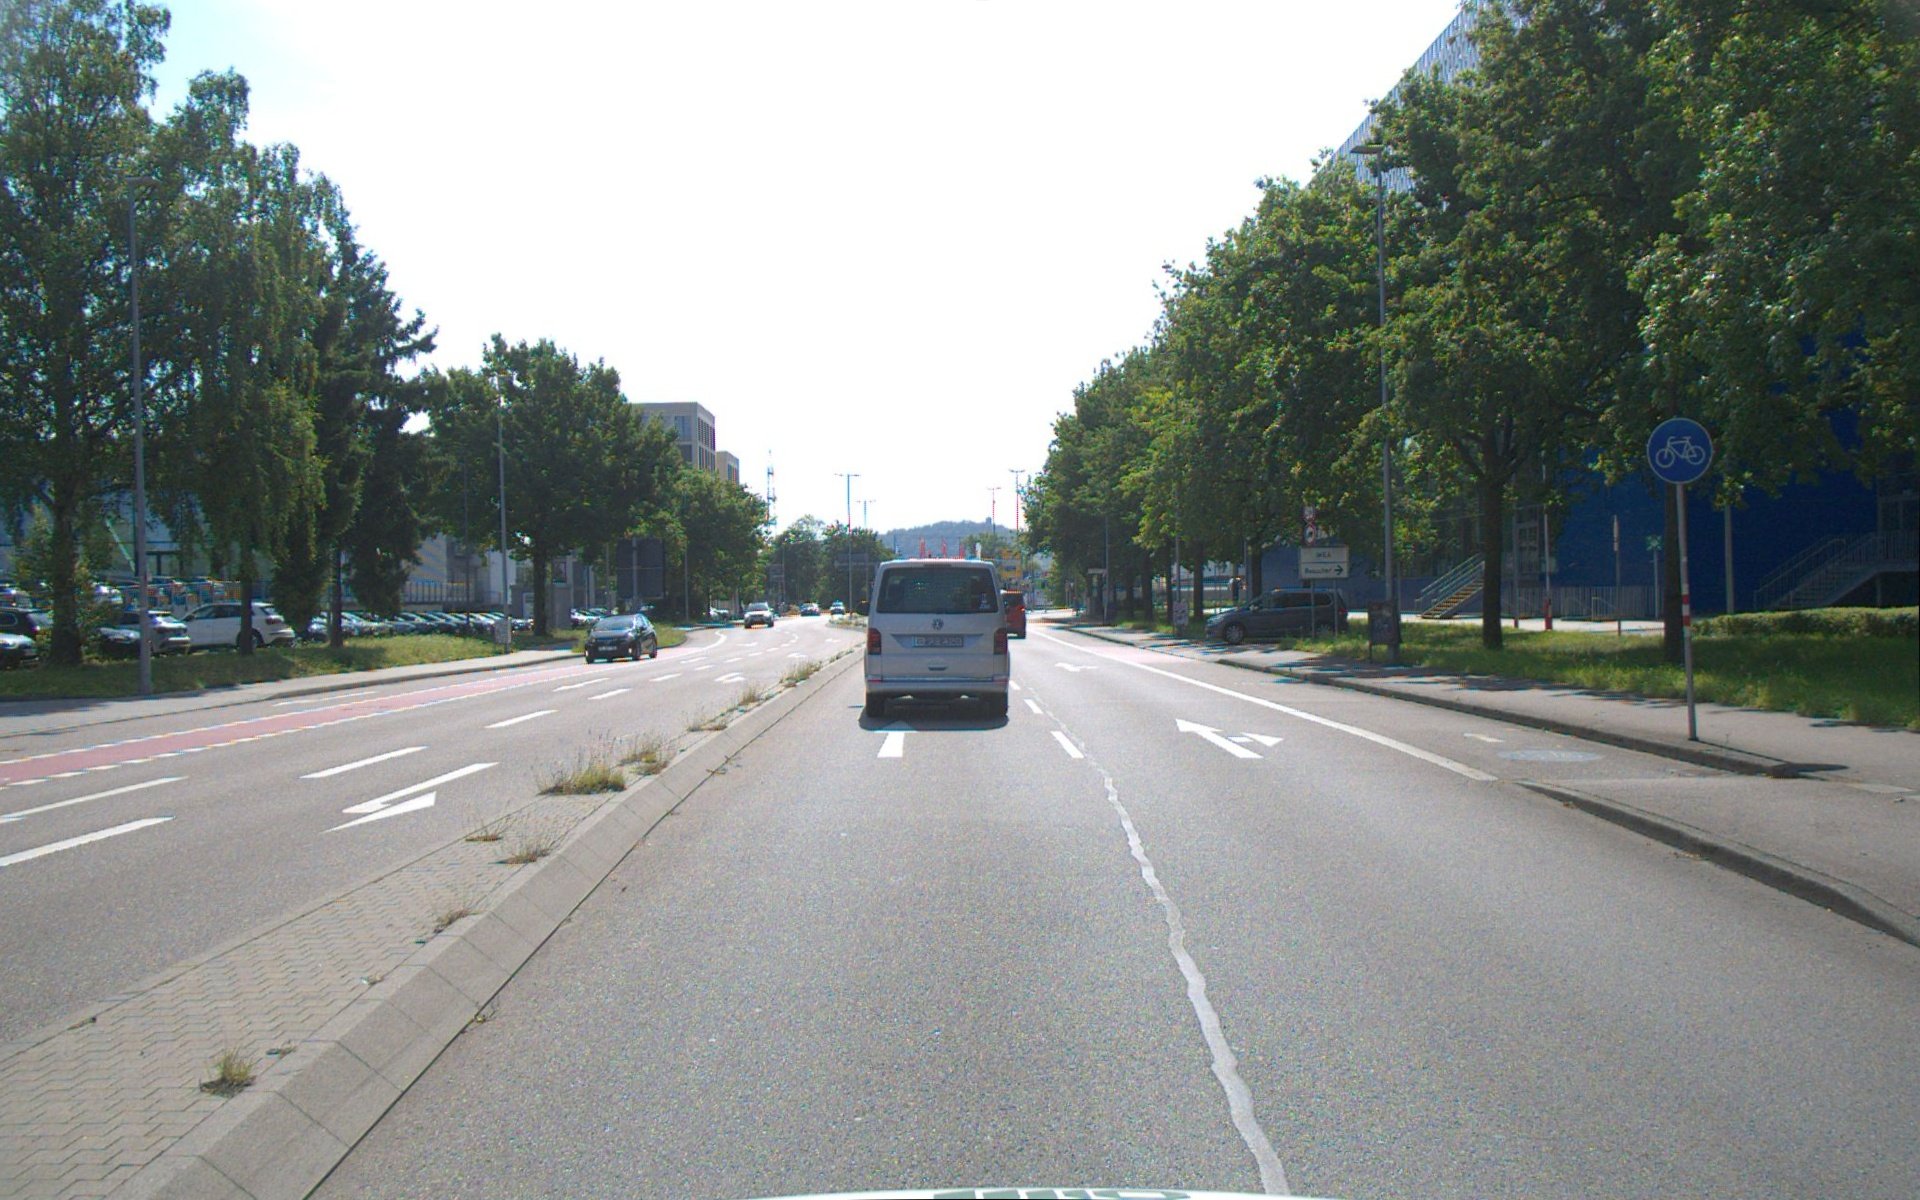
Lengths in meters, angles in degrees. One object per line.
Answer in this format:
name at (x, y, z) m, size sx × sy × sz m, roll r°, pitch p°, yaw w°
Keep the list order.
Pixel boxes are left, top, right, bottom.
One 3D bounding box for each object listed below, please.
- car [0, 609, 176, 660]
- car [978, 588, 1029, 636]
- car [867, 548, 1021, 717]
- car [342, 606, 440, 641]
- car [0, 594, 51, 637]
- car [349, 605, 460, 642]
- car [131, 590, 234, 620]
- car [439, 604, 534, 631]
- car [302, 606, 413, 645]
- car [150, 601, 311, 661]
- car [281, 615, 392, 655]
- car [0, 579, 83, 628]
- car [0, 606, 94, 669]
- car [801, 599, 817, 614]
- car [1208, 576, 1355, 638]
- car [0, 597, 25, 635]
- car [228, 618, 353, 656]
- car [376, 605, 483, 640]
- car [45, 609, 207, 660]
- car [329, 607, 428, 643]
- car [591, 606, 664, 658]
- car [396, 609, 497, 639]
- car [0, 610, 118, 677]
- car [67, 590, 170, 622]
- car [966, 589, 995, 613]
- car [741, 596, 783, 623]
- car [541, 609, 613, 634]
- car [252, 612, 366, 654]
car at (-23.433, 0.889, 43.395) m, size 4.753 × 1.290 × 1.999 m, roll 0°, pitch 0°, yaw -2°
car at (1.853, 0.511, 71.806) m, size 1.928 × 2.002 × 5.123 m, roll 0°, pitch 0°, yaw -2°
car at (-0.234, 0.381, 21.844) m, size 1.846 × 2.025 × 3.999 m, roll 0°, pitch 0°, yaw -1°
car at (-24.941, 1.032, 72.577) m, size 3.607 × 1.307 × 1.984 m, roll -3°, pitch 0°, yaw -3°
car at (-40.129, 0.676, 68.285) m, size 4.183 × 1.735 × 1.664 m, roll -2°, pitch 0°, yaw -3°
car at (-25.229, 1.051, 75.228) m, size 4.410 × 1.502 × 1.978 m, roll -2°, pitch 0°, yaw -3°
car at (-40.616, 0.249, 86.504) m, size 4.428 × 1.522 × 1.985 m, roll 0°, pitch 0°, yaw -2°
car at (-24.888, 0.917, 87.012) m, size 4.410 × 1.312 × 1.918 m, roll -2°, pitch 0°, yaw -3°
car at (-24.589, 1.037, 67.547) m, size 3.810 × 1.363 × 1.839 m, roll -3°, pitch 0°, yaw -3°
car at (-23.816, 0.997, 54.130) m, size 4.372 × 1.908 × 2.000 m, roll 0°, pitch 0°, yaw 0°
car at (-24.454, 1.363, 64.964) m, size 3.668 × 1.307 × 1.662 m, roll -3°, pitch 0°, yaw -3°
car at (-40.298, 0.165, 70.787) m, size 4.410 × 1.996 × 1.978 m, roll -2°, pitch 0°, yaw -3°
car at (-23.017, 0.860, 38.526) m, size 4.592 × 1.414 × 1.999 m, roll 0°, pitch 0°, yaw -2°
car at (-18.336, 0.785, 201.569) m, size 1.704 × 1.646 × 4.206 m, roll -4°, pitch 0°, yaw -4°
car at (10.097, 0.213, 52.209) m, size 4.350 × 1.723 × 1.845 m, roll -3°, pitch 0°, yaw 6°
car at (-40.105, 0.691, 66.017) m, size 4.410 × 1.511 × 1.978 m, roll -2°, pitch 0°, yaw -3°
car at (-23.711, 1.291, 58.641) m, size 3.715 × 1.307 × 1.743 m, roll 0°, pitch 0°, yaw -3°
car at (-25.031, 1.061, 78.129) m, size 4.410 × 1.502 × 1.918 m, roll -2°, pitch 0°, yaw -3°
car at (-23.241, 0.955, 46.179) m, size 3.605 × 1.395 × 1.816 m, roll 0°, pitch 0°, yaw -2°
car at (-24.654, 1.034, 70.194) m, size 3.523 × 1.307 × 1.864 m, roll -3°, pitch 0°, yaw -3°
car at (-11.048, 1.042, 55.154) m, size 1.663 × 1.545 × 4.026 m, roll -3°, pitch 0°, yaw -2°
car at (-25.272, 1.156, 81.514) m, size 4.410 × 1.312 × 1.918 m, roll -2°, pitch 0°, yaw -3°
car at (-23.271, 1.051, 40.627) m, size 4.128 × 1.573 × 1.999 m, roll 0°, pitch 0°, yaw -2°
car at (-40.729, 0.266, 80.115) m, size 3.906 × 1.522 × 2.051 m, roll 0°, pitch 0°, yaw -2°
car at (1.293, 0.056, 106.279) m, size 1.711 × 1.484 × 4.474 m, roll 0°, pitch 0°, yaw -1°
car at (-12.768, 0.591, 106.928) m, size 1.952 × 1.646 × 4.105 m, roll -3°, pitch 0°, yaw 3°
car at (-24.413, 1.357, 105.528) m, size 4.092 × 1.211 × 1.954 m, roll -5°, pitch 0°, yaw -3°
car at (-24.308, 1.218, 61.815) m, size 3.523 × 1.307 × 1.743 m, roll -3°, pitch 0°, yaw -3°
